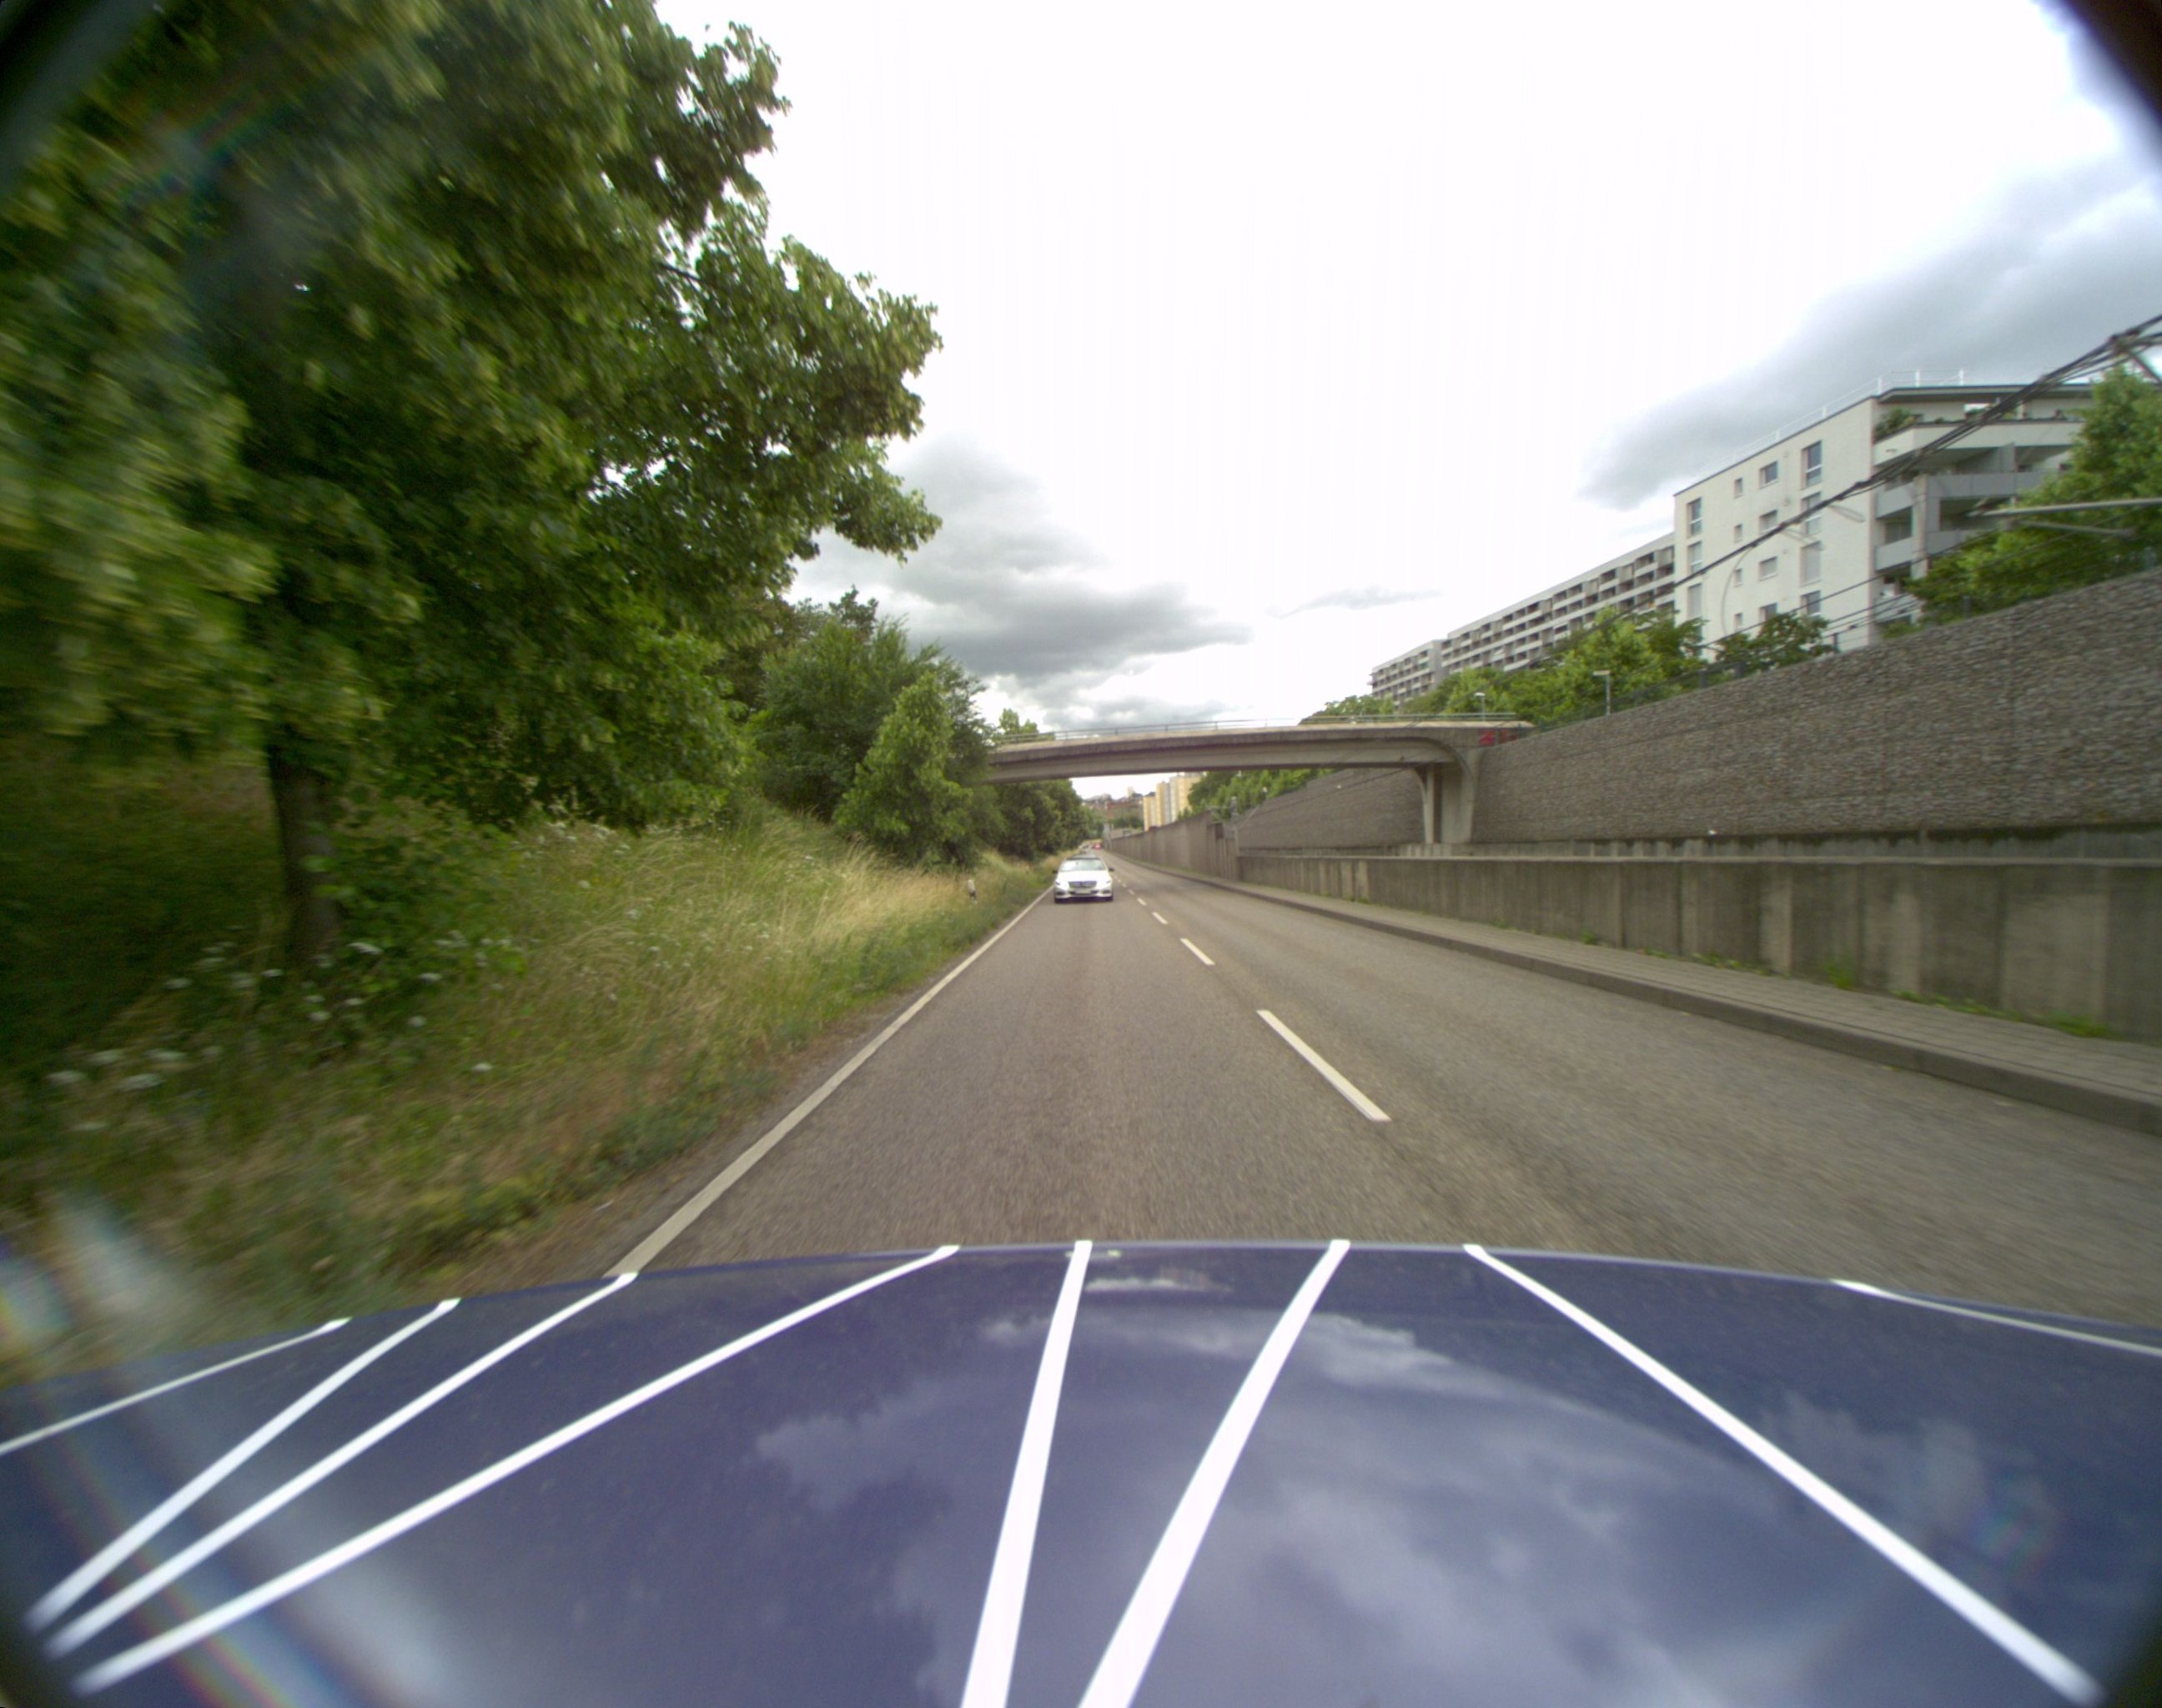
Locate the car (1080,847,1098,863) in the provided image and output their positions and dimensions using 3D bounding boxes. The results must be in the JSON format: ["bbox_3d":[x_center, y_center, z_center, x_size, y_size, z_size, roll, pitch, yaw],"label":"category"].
[{"bbox_3d":[0.965,0.102,90.760,1.998,1.746,4.000,-2,1,1],"label":"car"}]

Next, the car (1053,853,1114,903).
[{"bbox_3d":[0.118,0.742,25.617,1.842,1.499,4.160,-2,0,1],"label":"car"}]

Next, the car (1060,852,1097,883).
[{"bbox_3d":[-0.088,0.686,41.500,1.878,1.459,3.999,-2,1,1],"label":"car"}]
